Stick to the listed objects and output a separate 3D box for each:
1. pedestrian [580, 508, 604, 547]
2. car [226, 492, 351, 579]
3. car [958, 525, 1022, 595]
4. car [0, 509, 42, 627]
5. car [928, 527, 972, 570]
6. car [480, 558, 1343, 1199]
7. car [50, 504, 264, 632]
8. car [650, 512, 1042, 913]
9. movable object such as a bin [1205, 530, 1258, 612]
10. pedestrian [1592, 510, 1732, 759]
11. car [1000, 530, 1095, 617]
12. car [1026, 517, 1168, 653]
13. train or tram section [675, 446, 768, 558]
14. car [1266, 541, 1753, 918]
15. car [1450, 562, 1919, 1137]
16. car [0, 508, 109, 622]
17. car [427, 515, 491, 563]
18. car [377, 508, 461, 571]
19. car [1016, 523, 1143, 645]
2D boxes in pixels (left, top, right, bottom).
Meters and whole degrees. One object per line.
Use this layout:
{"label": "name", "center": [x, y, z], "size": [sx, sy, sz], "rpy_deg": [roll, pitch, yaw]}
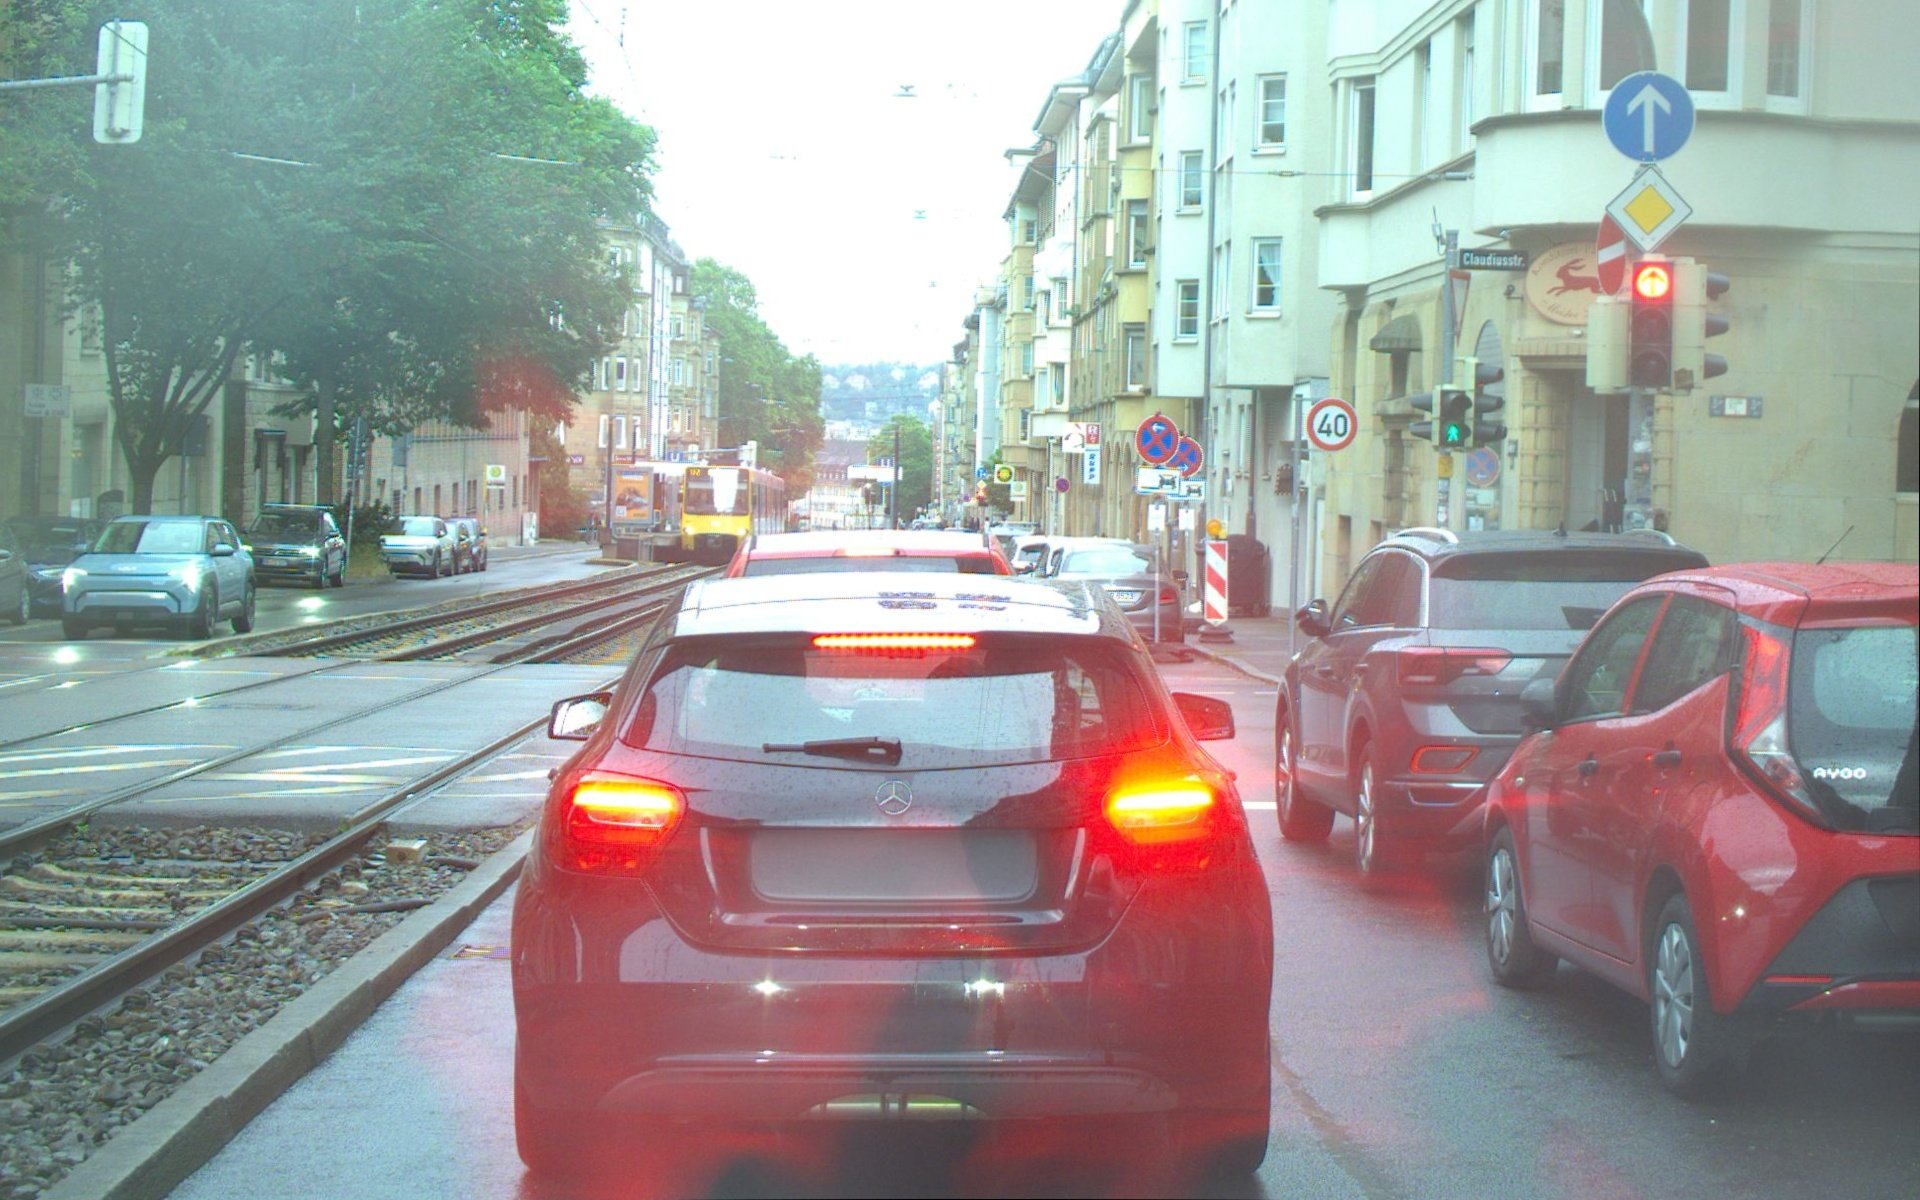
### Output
{"label": "pedestrian", "center": [-18.781, -3.709, 175.317], "size": [1.053, 1.951, 1.043], "rpy_deg": [2, 1, 1]}
{"label": "car", "center": [-13.966, -1.329, 71.684], "size": [1.875, 1.731, 3.918], "rpy_deg": [1, 0, -1]}
{"label": "car", "center": [0.625, -0.860, 73.577], "size": [1.294, 1.437, 2.929], "rpy_deg": [1, 1, -1]}
{"label": "car", "center": [-13.490, -0.432, 45.675], "size": [1.752, 1.547, 4.036], "rpy_deg": [1, 0, -4]}
{"label": "car", "center": [-0.383, -1.979, 131.871], "size": [1.544, 1.630, 3.686], "rpy_deg": [1, 1, 2]}
{"label": "car", "center": [-0.131, 0.641, 9.440], "size": [1.829, 1.453, 4.104], "rpy_deg": [1, 1, -1]}
{"label": "car", "center": [-10.466, -0.415, 45.061], "size": [1.898, 1.582, 3.973], "rpy_deg": [1, 0, -1]}
{"label": "car", "center": [-0.485, 0.438, 15.827], "size": [1.565, 1.604, 3.814], "rpy_deg": [1, 0, -1]}
{"label": "movable object such as a bin", "center": [4.704, -0.504, 59.555], "size": [0.878, 1.384, 0.982], "rpy_deg": [1, 0, 3]}
{"label": "pedestrian", "center": [5.039, 0.235, 24.736], "size": [0.741, 1.742, 1.111], "rpy_deg": [1, 0, -1]}
{"label": "car", "center": [1.545, -0.501, 61.508], "size": [1.544, 1.481, 3.548], "rpy_deg": [1, 1, -1]}
{"label": "car", "center": [1.661, -0.209, 42.623], "size": [1.544, 1.585, 3.548], "rpy_deg": [1, 1, -1]}
{"label": "train or tram section", "center": [-8.687, -3.513, 126.291], "size": [2.783, 3.847, 10.430], "rpy_deg": [1, 0, -1]}
{"label": "car", "center": [2.381, 0.491, 15.746], "size": [1.544, 1.481, 3.830], "rpy_deg": [1, 1, -1]}
{"label": "car", "center": [2.644, 0.635, 10.508], "size": [1.642, 1.443, 3.299], "rpy_deg": [1, 1, -3]}
{"label": "car", "center": [-13.743, -0.521, 50.705], "size": [1.716, 1.605, 3.919], "rpy_deg": [1, 0, -5]}
{"label": "car", "center": [-14.348, -1.735, 98.556], "size": [1.448, 1.326, 3.272], "rpy_deg": [1, 0, -2]}
{"label": "car", "center": [-14.004, -1.548, 89.147], "size": [1.589, 1.575, 3.918], "rpy_deg": [1, 0, -1]}
{"label": "car", "center": [1.605, -0.246, 47.098], "size": [1.544, 1.585, 3.548], "rpy_deg": [1, 1, -1]}
